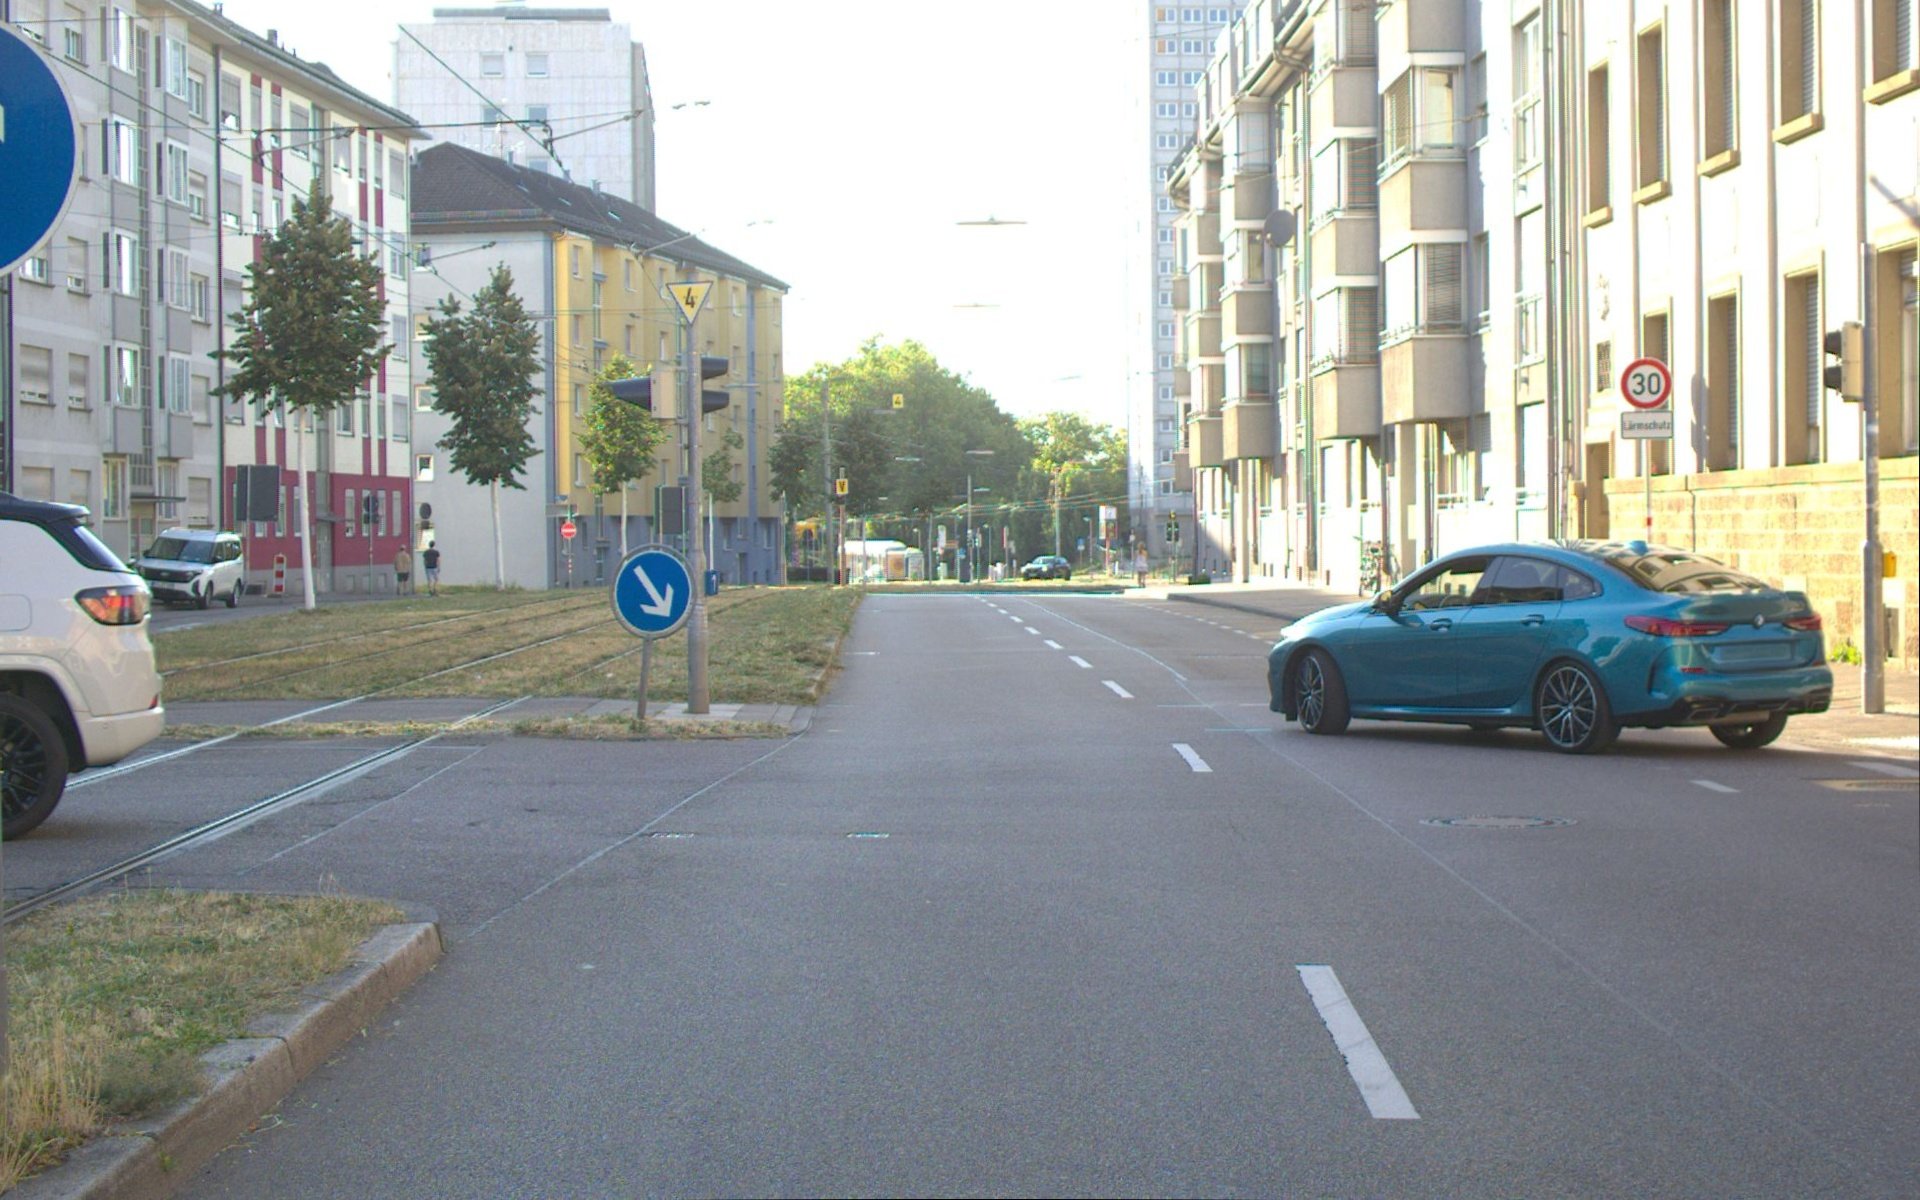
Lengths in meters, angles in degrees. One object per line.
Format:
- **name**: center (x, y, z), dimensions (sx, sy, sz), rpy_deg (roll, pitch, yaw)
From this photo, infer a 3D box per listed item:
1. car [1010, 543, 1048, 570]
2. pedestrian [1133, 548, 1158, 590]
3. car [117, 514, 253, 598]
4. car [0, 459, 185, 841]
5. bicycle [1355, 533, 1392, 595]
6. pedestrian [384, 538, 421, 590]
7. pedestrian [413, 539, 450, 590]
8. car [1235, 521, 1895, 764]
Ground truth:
- **car**: center (4.476, -2.829, 222.997), dimensions (1.898, 1.628, 4.746), rpy_deg (-1, 1, 8)
- **pedestrian**: center (5.494, -0.923, 101.788), dimensions (0.691, 1.230, 0.736), rpy_deg (1, 0, 0)
- **car**: center (-18.397, -1.038, 81.833), dimensions (1.994, 1.918, 4.541), rpy_deg (1, 1, 3)
- **car**: center (-5.992, 0.247, 16.148), dimensions (4.378, 1.728, 2.001), rpy_deg (-1, 1, -18)
- **bicycle**: center (7.451, -0.644, 61.970), dimensions (0.383, 1.092, 1.504), rpy_deg (-1, 1, -3)
- **pedestrian**: center (-18.269, -1.173, 112.630), dimensions (0.962, 1.688, 1.011), rpy_deg (1, 0, 5)
- **pedestrian**: center (-17.391, -1.167, 113.169), dimensions (0.962, 1.664, 1.011), rpy_deg (1, 0, 5)
- **car**: center (4.152, 0.239, 24.239), dimensions (1.994, 1.549, 4.393), rpy_deg (0, 1, -37)
